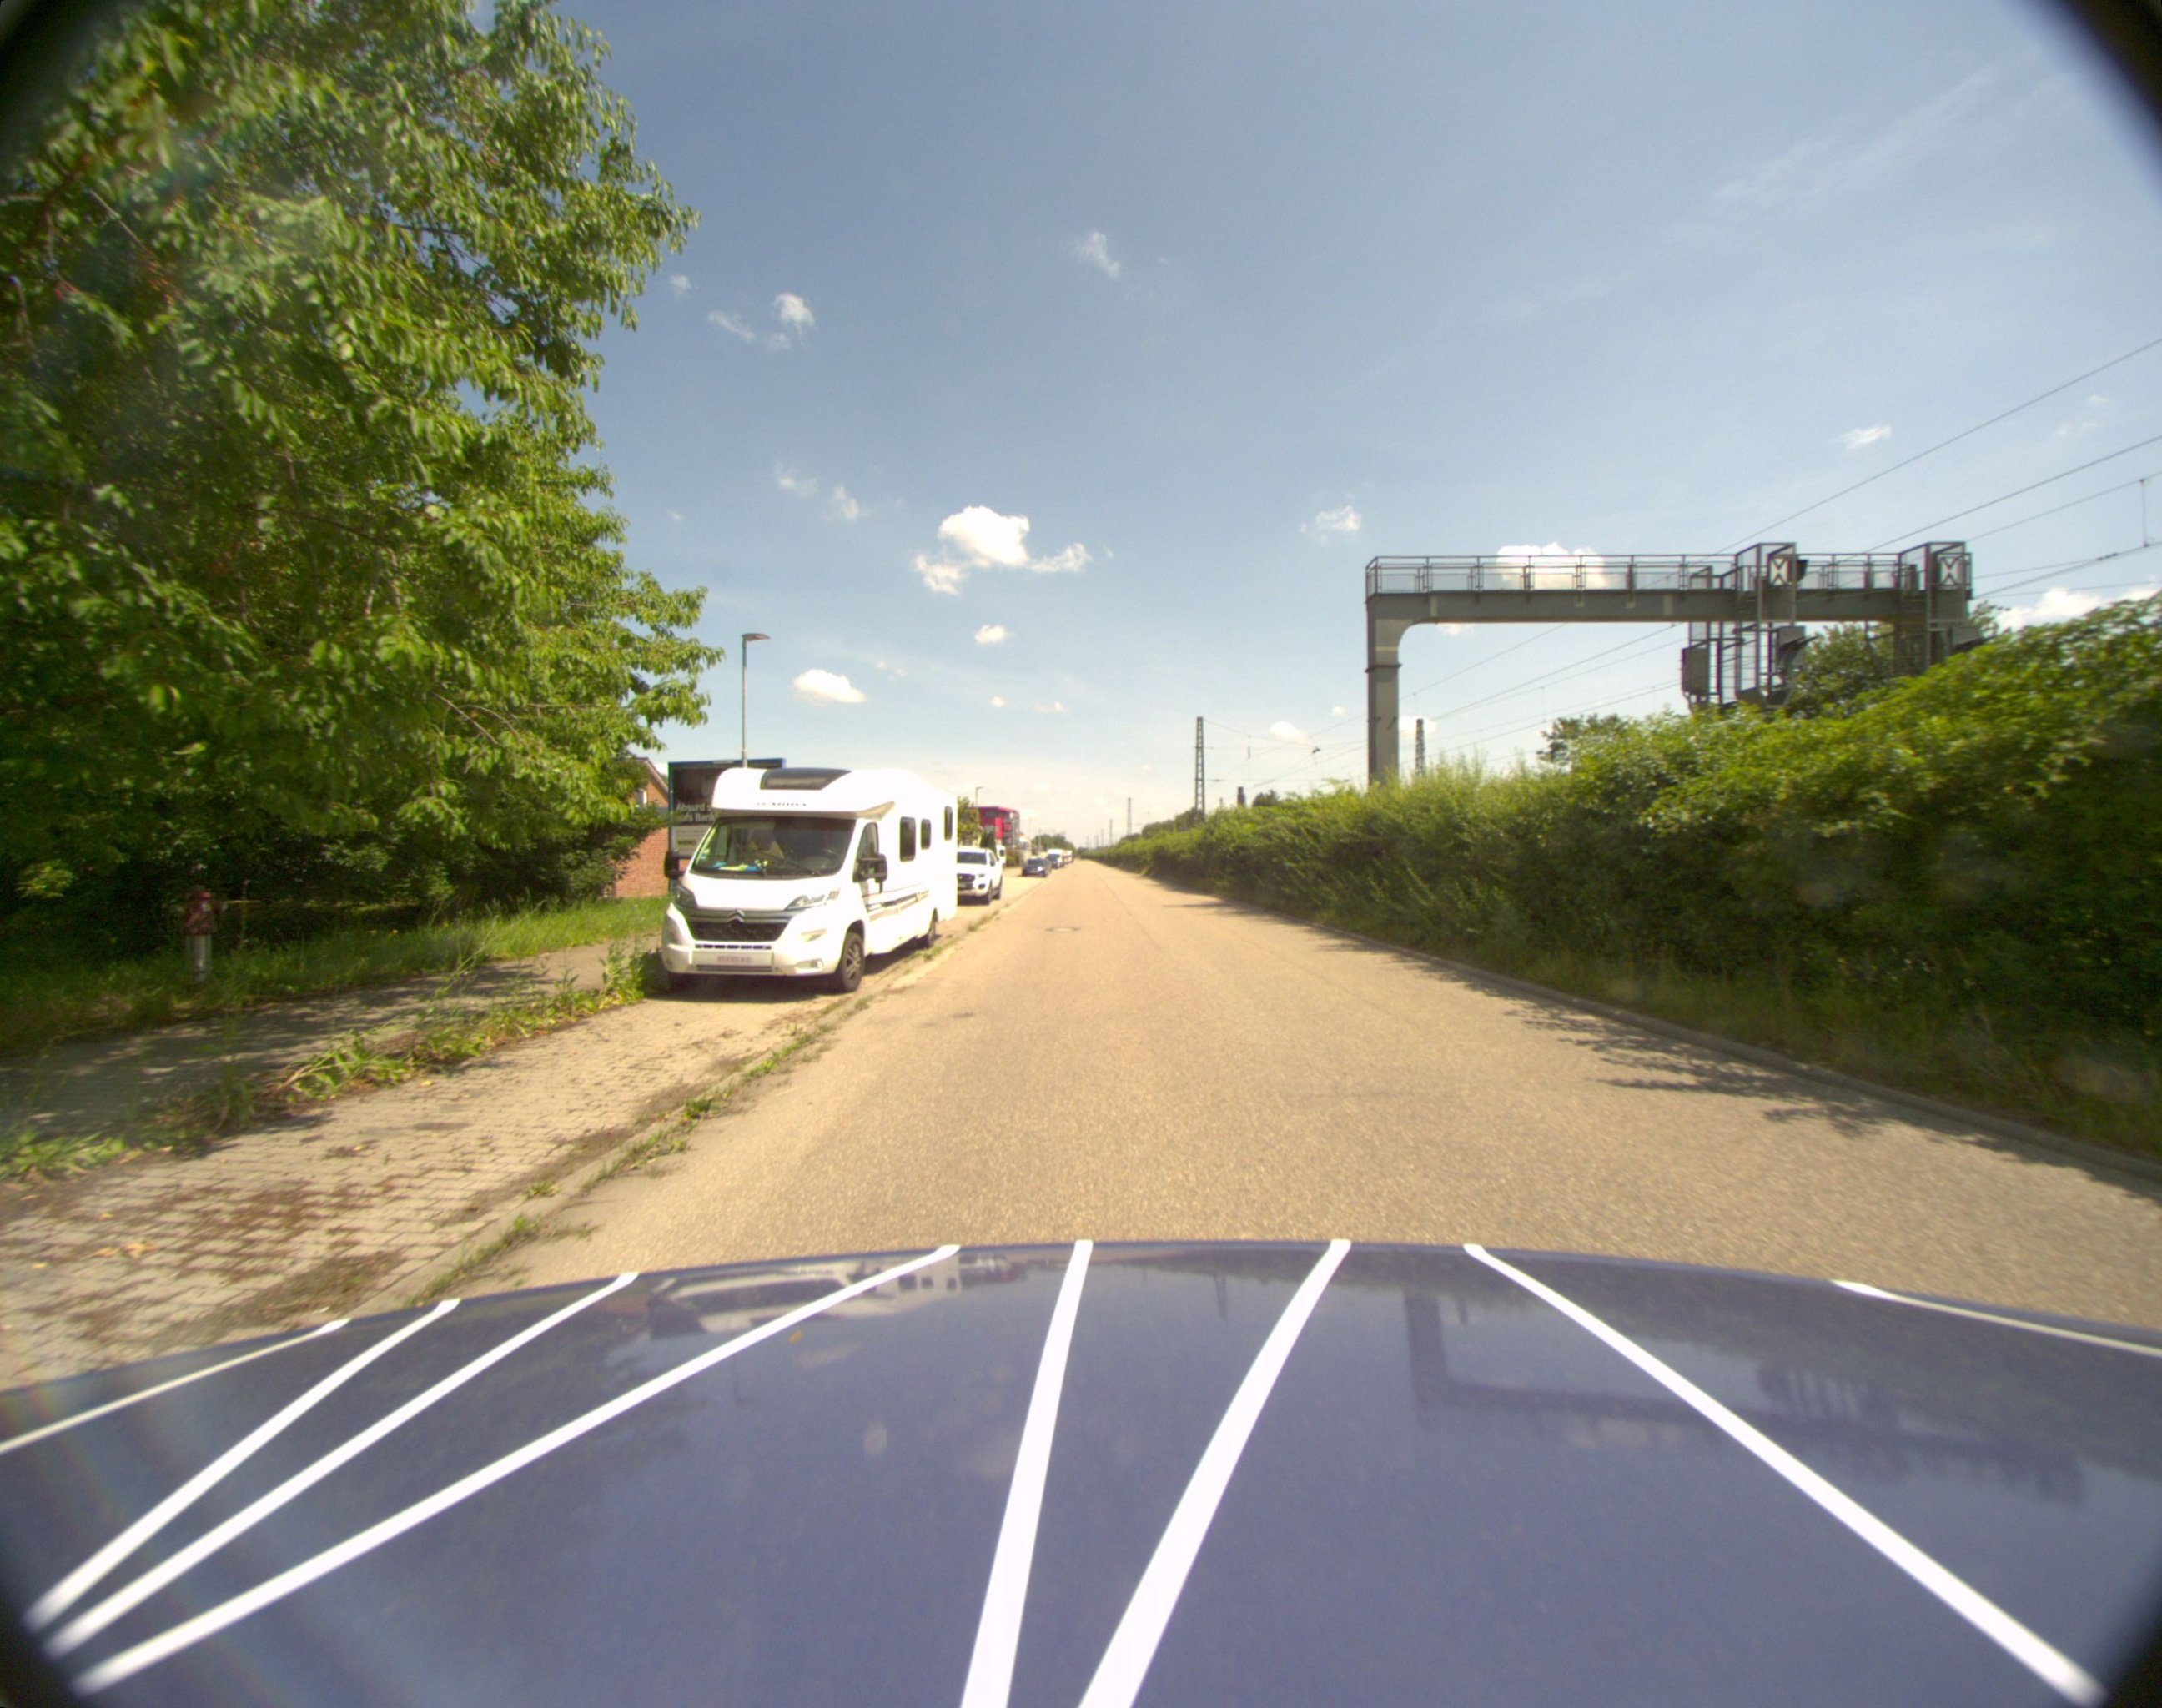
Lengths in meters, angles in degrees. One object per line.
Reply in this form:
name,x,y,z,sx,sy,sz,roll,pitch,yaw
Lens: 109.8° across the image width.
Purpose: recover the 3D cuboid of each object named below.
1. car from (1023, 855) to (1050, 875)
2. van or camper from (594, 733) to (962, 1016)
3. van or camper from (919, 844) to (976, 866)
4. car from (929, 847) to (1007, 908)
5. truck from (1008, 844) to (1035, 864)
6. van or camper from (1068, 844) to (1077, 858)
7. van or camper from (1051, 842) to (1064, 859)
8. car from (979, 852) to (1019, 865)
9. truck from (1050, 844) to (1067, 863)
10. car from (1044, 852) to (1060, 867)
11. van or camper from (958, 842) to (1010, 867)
car,-3.342,0.813,57.891,1.766,1.464,4.718,1,0,0
van or camper,-3.661,0.199,11.494,2.445,2.810,7.623,1,0,0
van or camper,-14.929,0.118,84.995,5.832,2.423,2.136,0,0,11
car,-3.723,0.714,25.937,1.852,1.804,5.424,1,0,-1
truck,-8.104,0.003,104.287,2.381,2.673,5.787,0,0,9
van or camper,-2.264,-0.840,204.446,2.333,3.497,4.769,-2,1,0
van or camper,-3.923,-0.623,128.010,1.998,2.854,4.395,-1,1,0
car,-9.892,0.552,91.900,4.606,1.478,1.714,0,0,1
truck,-3.022,-0.029,104.313,1.998,2.550,5.289,1,0,1
car,-3.528,0.662,92.855,1.805,1.692,4.000,2,0,0
van or camper,-10.275,0.049,80.630,5.098,2.519,2.002,0,0,14
